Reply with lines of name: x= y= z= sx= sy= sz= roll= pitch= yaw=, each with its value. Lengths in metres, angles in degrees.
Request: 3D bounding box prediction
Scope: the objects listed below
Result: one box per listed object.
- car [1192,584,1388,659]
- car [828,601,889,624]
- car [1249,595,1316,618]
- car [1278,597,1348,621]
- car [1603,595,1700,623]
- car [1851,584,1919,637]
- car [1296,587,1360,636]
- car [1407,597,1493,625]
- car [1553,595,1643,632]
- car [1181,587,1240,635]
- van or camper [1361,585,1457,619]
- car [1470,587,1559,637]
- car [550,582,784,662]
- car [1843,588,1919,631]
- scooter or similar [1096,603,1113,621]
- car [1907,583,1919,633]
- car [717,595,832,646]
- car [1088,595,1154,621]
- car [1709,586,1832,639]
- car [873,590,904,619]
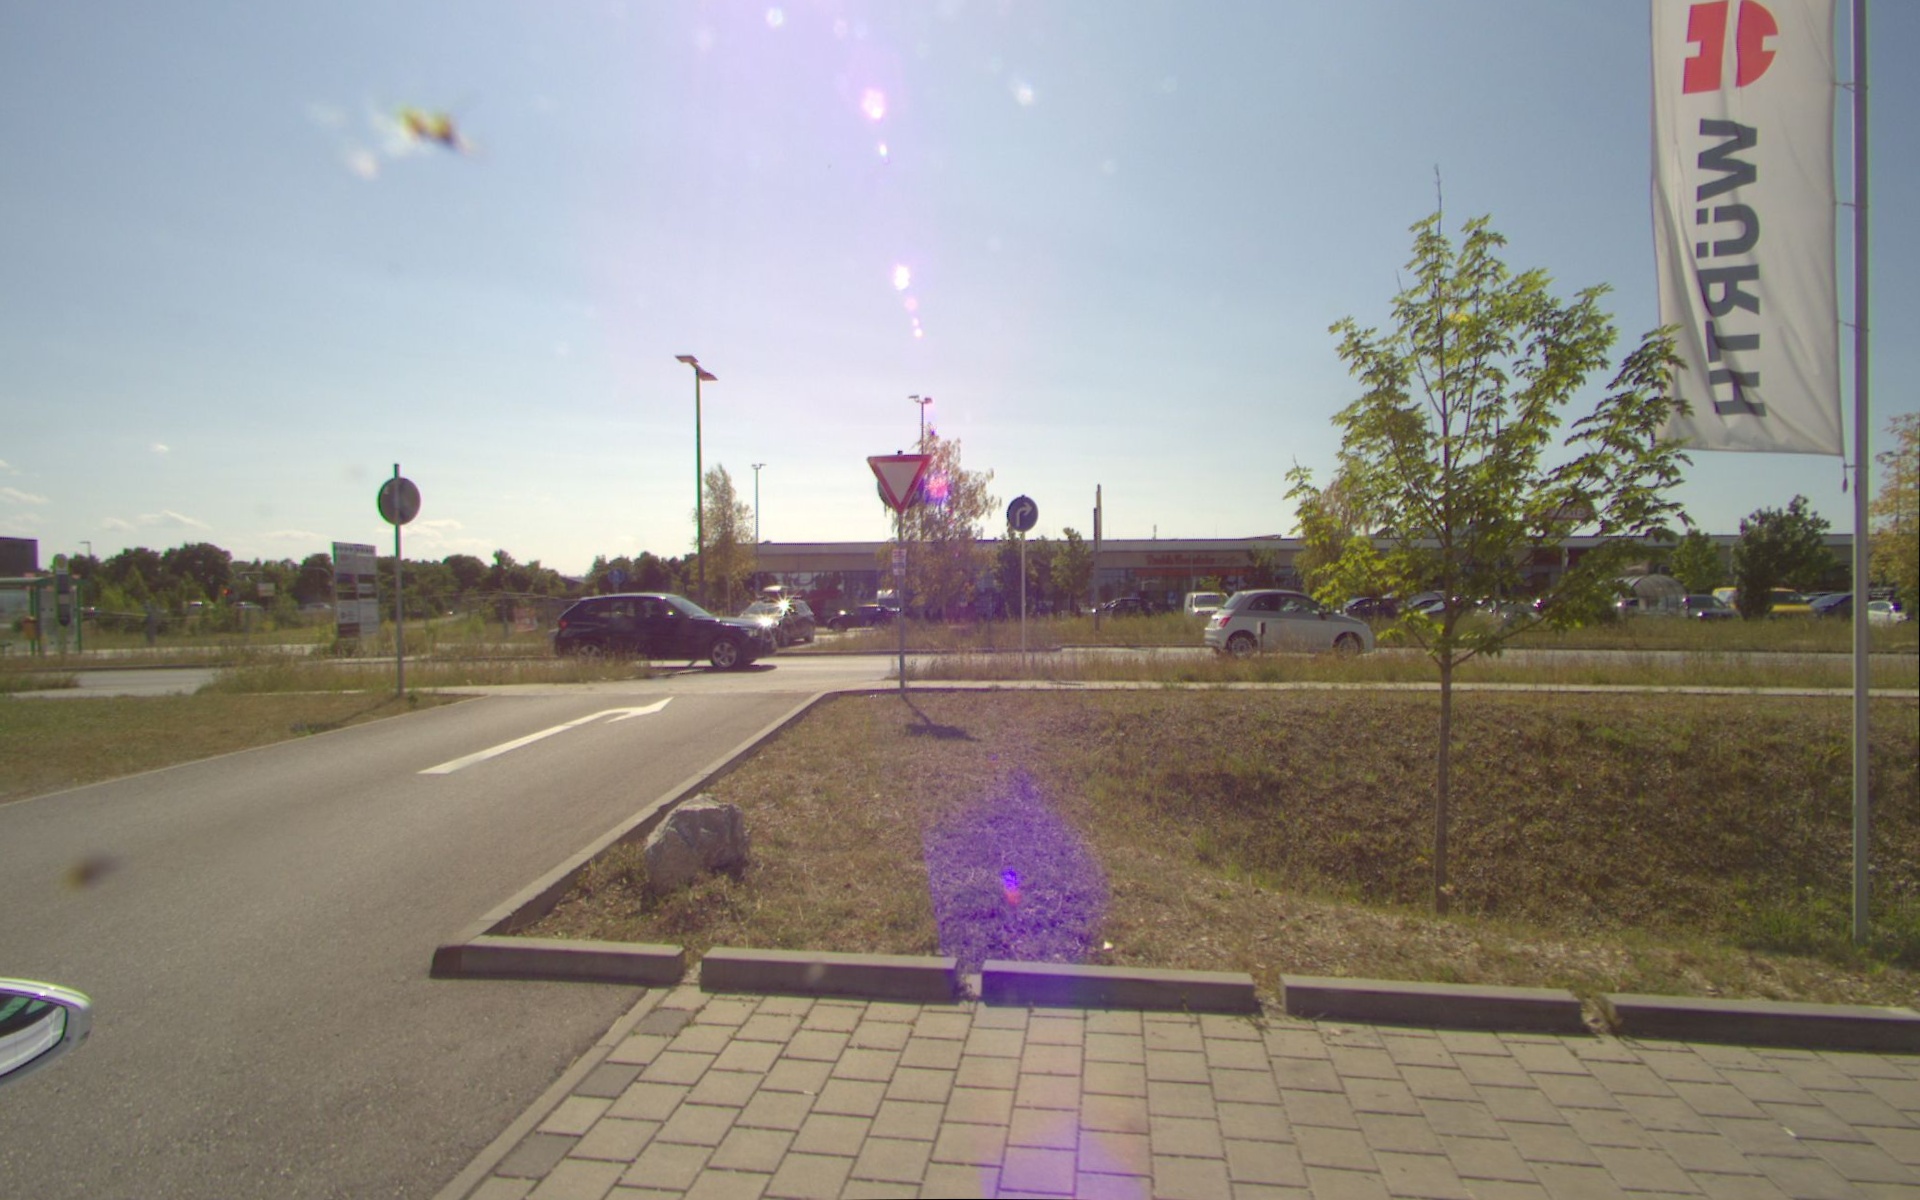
car: x=7.138 y=0.464 z=21.930 sx=3.709 sy=1.571 sz=1.741 roll=0 pitch=0 yaw=0
car: x=-6.328 y=0.771 z=62.757 sx=3.770 sy=1.442 sz=1.772 roll=0 pitch=0 yaw=-4
car: x=20.572 y=0.431 z=63.931 sx=3.659 sy=1.409 sz=1.731 roll=0 pitch=0 yaw=-3
car: x=21.500 y=0.548 z=61.023 sx=3.659 sy=1.409 sz=1.731 roll=0 pitch=0 yaw=-3
car: x=38.906 y=0.518 z=56.421 sx=4.265 sy=1.540 sz=1.655 roll=0 pitch=0 yaw=2
car: x=38.183 y=0.414 z=40.172 sx=1.909 sy=2.040 sz=4.404 roll=0 pitch=0 yaw=16
car: x=16.457 y=0.494 z=45.068 sx=2.124 sy=2.040 sz=5.110 roll=0 pitch=0 yaw=14
car: x=27.373 y=0.631 z=56.025 sx=3.922 sy=1.528 sz=1.875 roll=0 pitch=0 yaw=1
car: x=39.100 y=0.810 z=61.427 sx=4.398 sy=2.220 sz=1.999 roll=0 pitch=0 yaw=-6
car: x=11.374 y=0.488 z=45.818 sx=2.047 sy=2.040 sz=5.227 roll=0 pitch=0 yaw=7
van or camper: x=27.521 y=0.099 z=61.444 sx=4.953 sy=2.040 sz=2.000 roll=0 pitch=1 yaw=2
car: x=24.005 y=0.492 z=43.573 sx=2.124 sy=2.040 sz=5.110 roll=0 pitch=0 yaw=14
car: x=-5.931 y=0.455 z=20.668 sx=4.303 sy=1.571 sz=1.914 roll=0 pitch=0 yaw=-2
car: x=63.025 y=0.641 z=67.995 sx=4.397 sy=2.858 sz=2.000 roll=0 pitch=0 yaw=0
scooter or similar: x=8.562 y=0.712 z=59.208 sx=0.928 sy=1.094 sz=0.652 roll=0 pitch=1 yaw=4
car: x=56.691 y=0.468 z=56.608 sx=4.397 sy=2.858 sz=2.000 roll=0 pitch=0 yaw=0
car: x=-5.930 y=0.657 z=32.545 sx=1.964 sy=1.536 sz=4.191 roll=0 pitch=-1 yaw=17
car: x=9.746 y=0.477 z=60.865 sx=3.732 sy=1.528 sz=1.732 roll=-1 pitch=0 yaw=0
car: x=33.367 y=0.486 z=41.435 sx=2.125 sy=2.040 sz=5.108 roll=0 pitch=0 yaw=16
car: x=-5.318 y=0.346 z=74.644 sx=2.186 sy=2.003 sz=6.695 roll=-1 pitch=0 yaw=-4
